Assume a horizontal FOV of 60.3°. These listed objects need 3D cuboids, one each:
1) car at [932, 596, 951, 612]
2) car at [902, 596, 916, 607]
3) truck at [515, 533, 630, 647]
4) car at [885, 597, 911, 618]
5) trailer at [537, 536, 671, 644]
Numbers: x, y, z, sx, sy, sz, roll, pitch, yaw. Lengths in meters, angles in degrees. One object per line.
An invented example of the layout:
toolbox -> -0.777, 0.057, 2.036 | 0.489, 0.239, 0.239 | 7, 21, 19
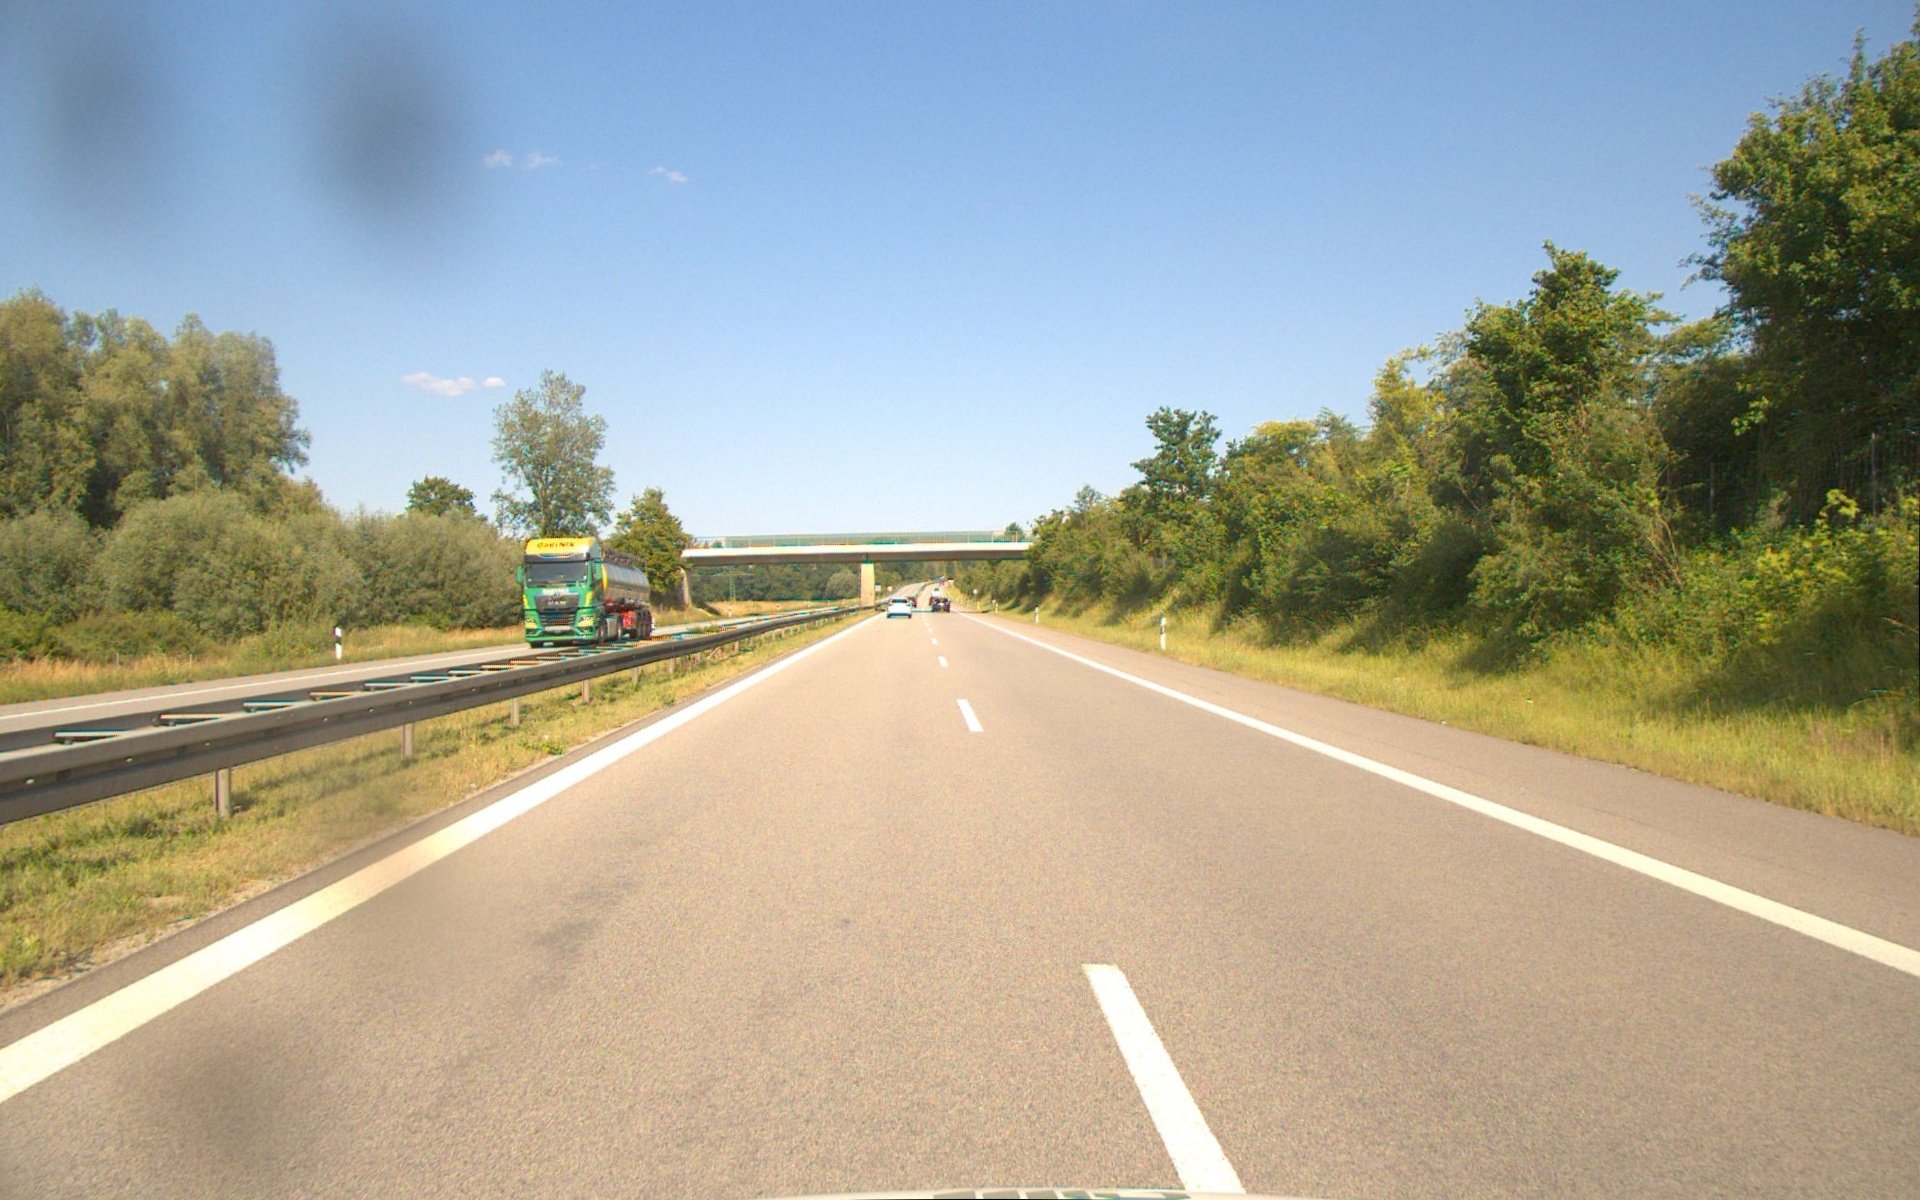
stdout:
car -> -1.883, 0.438, 164.328 | 1.806, 1.546, 3.998 | 1, 0, -2
car -> -6.839, 0.234, 221.748 | 1.806, 1.461, 3.998 | 1, 0, -2
truck -> -13.730, -0.353, 59.052 | 2.896, 3.796, 5.566 | -2, 0, -2
car -> -4.430, 0.502, 117.894 | 1.806, 1.440, 3.998 | 1, 0, -2
trailer -> -13.921, -0.355, 65.822 | 2.920, 3.796, 12.415 | -1, 0, -2
